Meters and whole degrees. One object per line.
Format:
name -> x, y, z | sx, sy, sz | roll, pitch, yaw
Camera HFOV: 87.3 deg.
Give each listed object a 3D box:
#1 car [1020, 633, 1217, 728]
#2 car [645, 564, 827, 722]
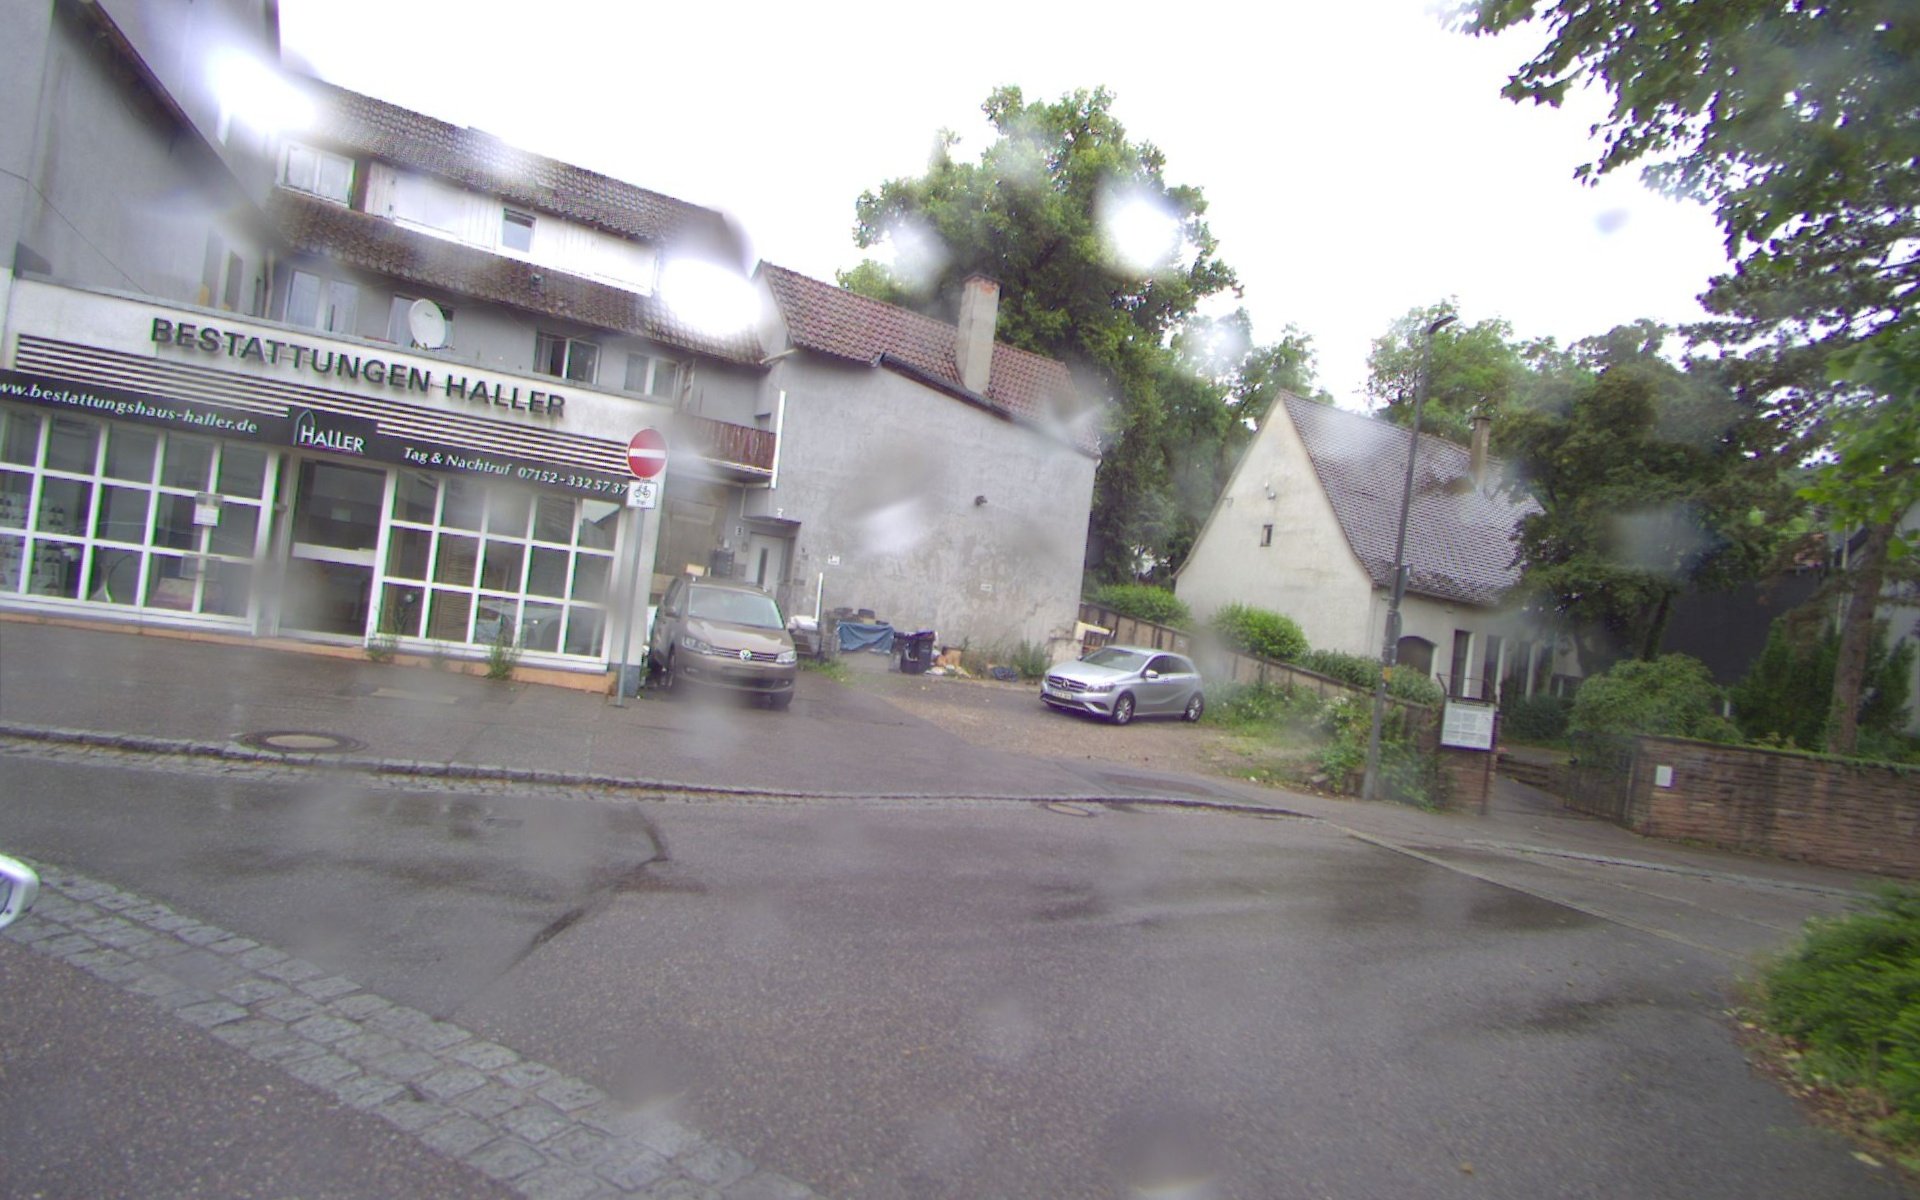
car -> 3.260, 1.637, 20.254 | 1.809, 1.493, 3.977 | 10, 2, 44
car -> -3.601, 0.548, 15.555 | 1.974, 1.793, 3.978 | 9, 0, -21
